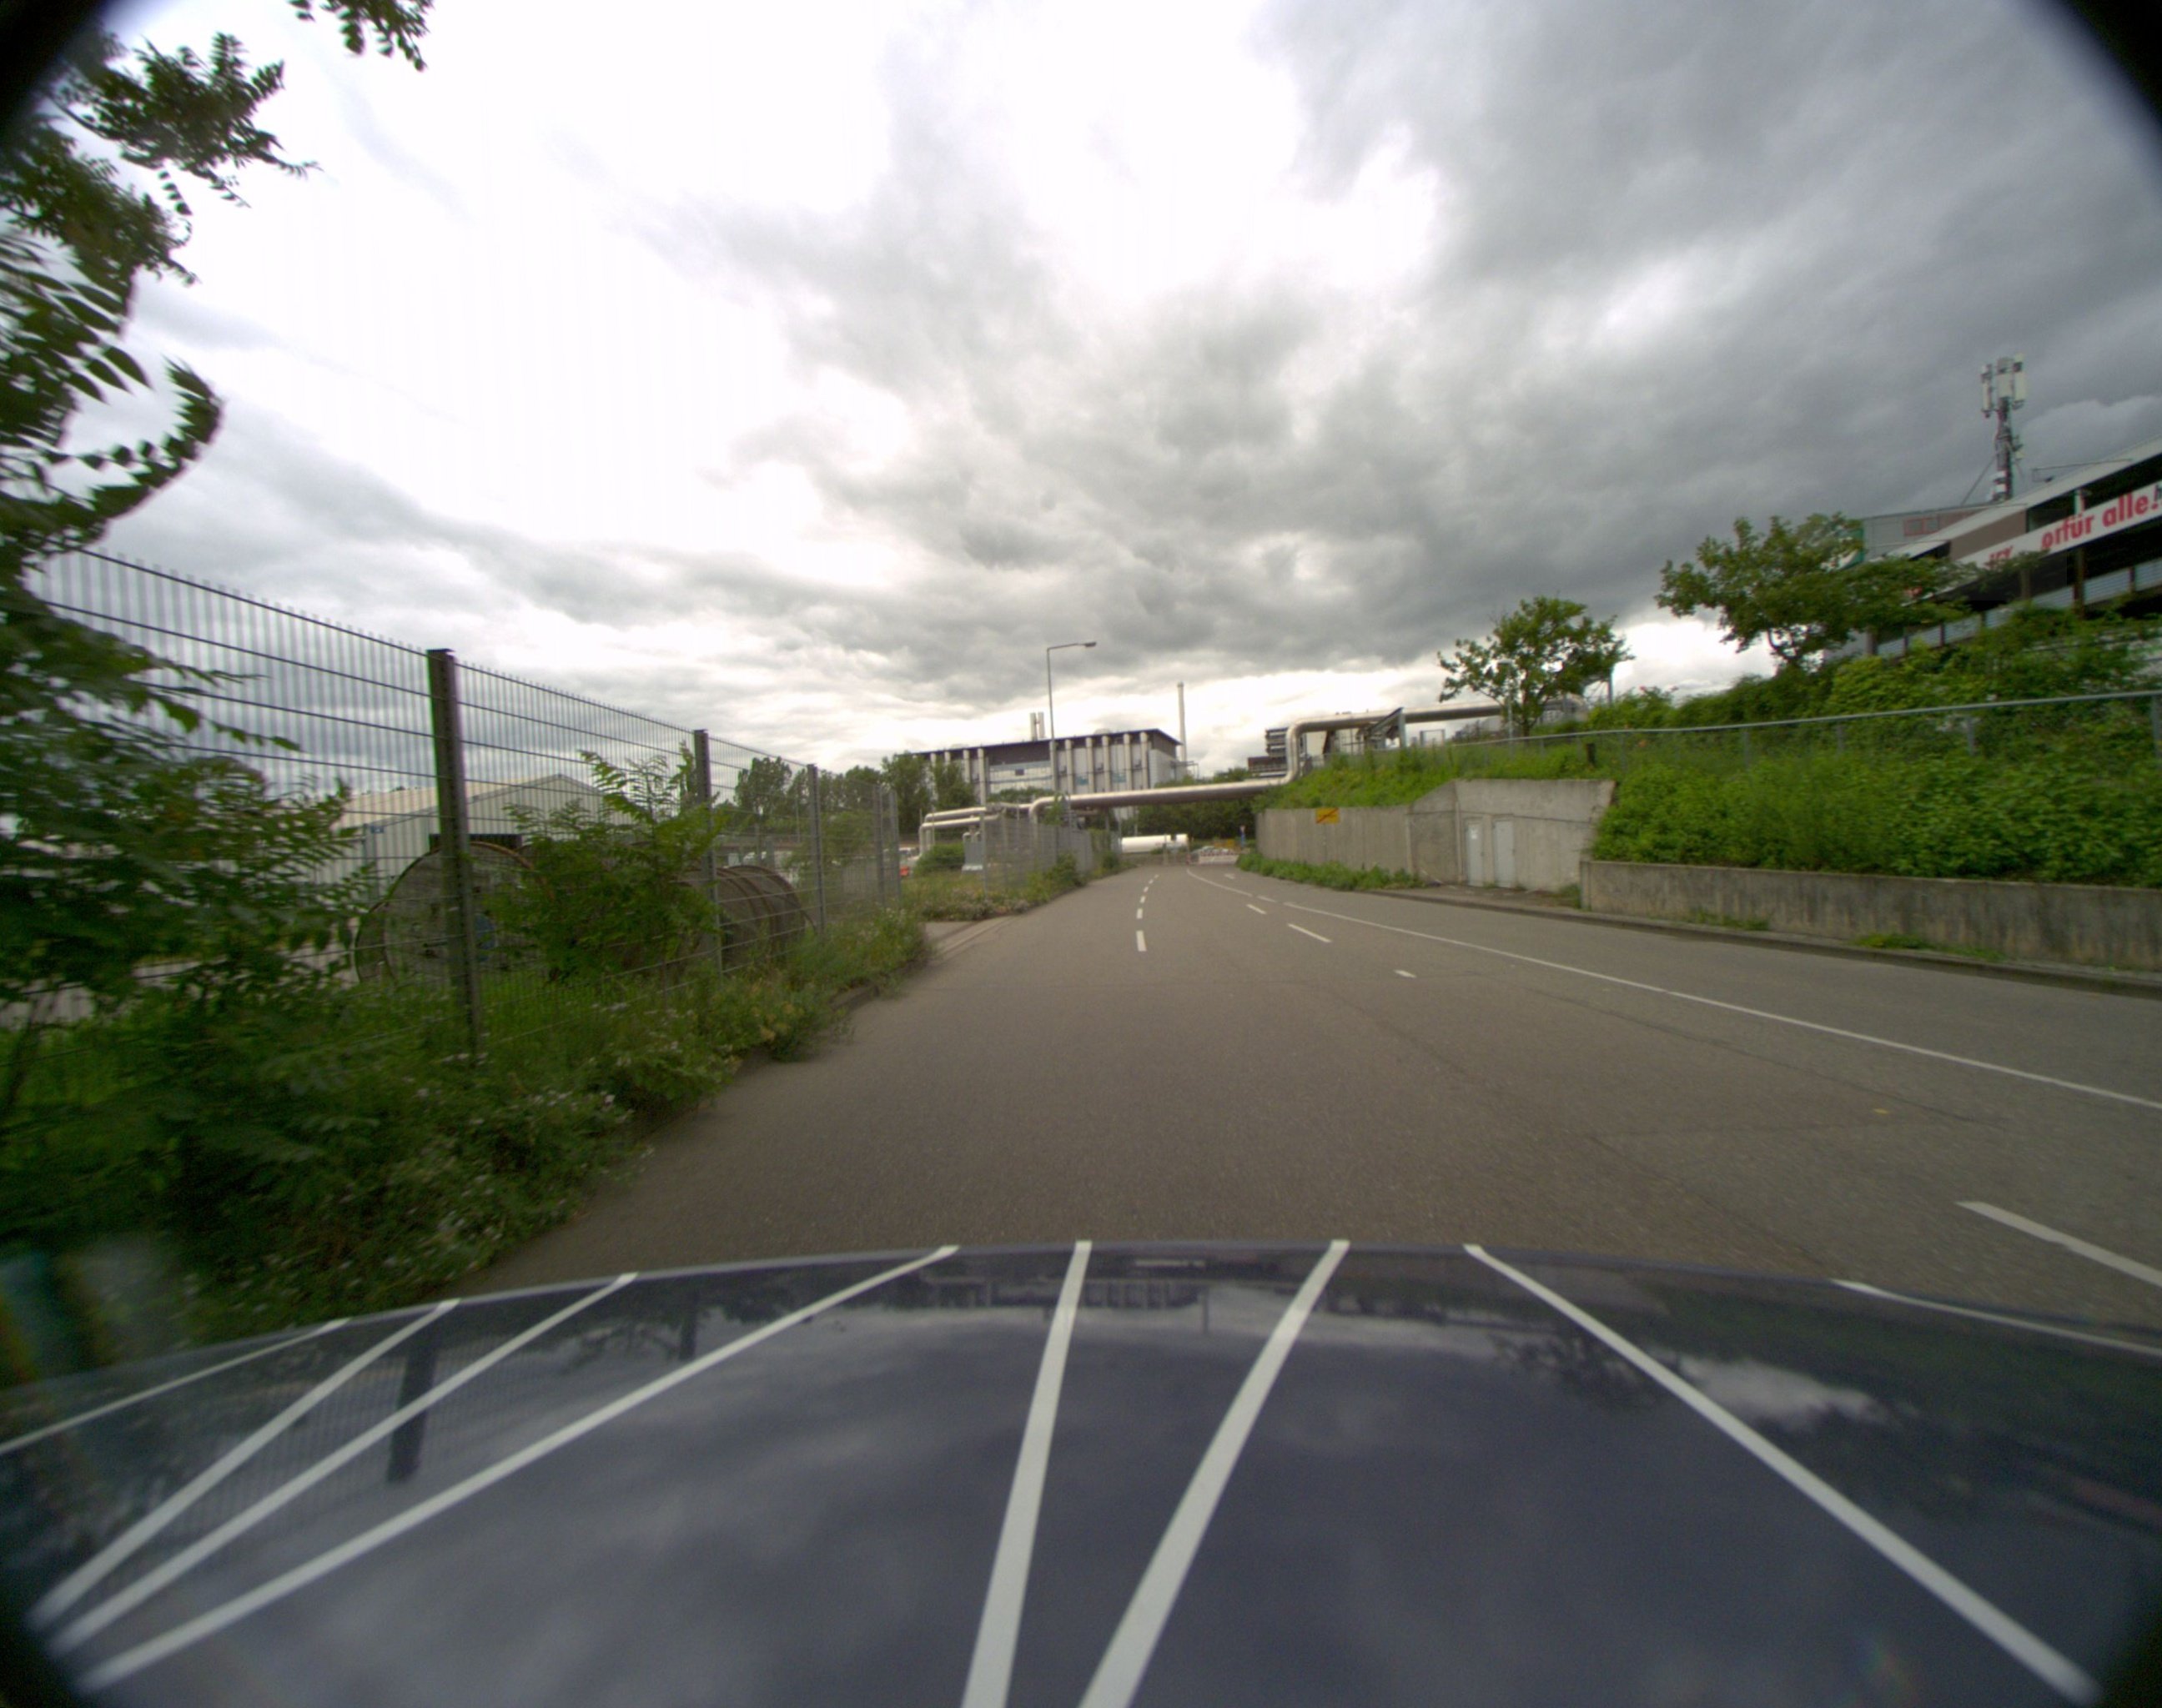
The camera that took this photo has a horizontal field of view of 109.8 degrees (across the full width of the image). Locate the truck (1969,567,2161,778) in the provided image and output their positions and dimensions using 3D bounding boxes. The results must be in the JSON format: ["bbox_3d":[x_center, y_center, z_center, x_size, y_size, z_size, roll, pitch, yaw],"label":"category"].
[{"bbox_3d":[22.155,-3.531,16.025,7.877,3.519,3.045,-4,3,-30],"label":"truck"}]

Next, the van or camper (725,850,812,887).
[{"bbox_3d":[-23.689,1.045,57.912,2.570,2.533,6.134,-3,0,19],"label":"van or camper"}]

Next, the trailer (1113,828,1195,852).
[{"bbox_3d":[10.044,-1.855,104.674,10.961,2.679,2.223,-3,0,12],"label":"trailer"}]

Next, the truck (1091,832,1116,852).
[{"bbox_3d":[3.181,-1.613,106.016,3.076,2.629,2.175,-3,0,12],"label":"truck"}]

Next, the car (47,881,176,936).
[{"bbox_3d":[-51.147,2.874,40.101,5.339,2.631,2.419,-3,0,18],"label":"car"}]

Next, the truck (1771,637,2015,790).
[{"bbox_3d":[23.410,-3.762,21.804,7.877,3.519,3.045,-4,3,-30],"label":"truck"}]
